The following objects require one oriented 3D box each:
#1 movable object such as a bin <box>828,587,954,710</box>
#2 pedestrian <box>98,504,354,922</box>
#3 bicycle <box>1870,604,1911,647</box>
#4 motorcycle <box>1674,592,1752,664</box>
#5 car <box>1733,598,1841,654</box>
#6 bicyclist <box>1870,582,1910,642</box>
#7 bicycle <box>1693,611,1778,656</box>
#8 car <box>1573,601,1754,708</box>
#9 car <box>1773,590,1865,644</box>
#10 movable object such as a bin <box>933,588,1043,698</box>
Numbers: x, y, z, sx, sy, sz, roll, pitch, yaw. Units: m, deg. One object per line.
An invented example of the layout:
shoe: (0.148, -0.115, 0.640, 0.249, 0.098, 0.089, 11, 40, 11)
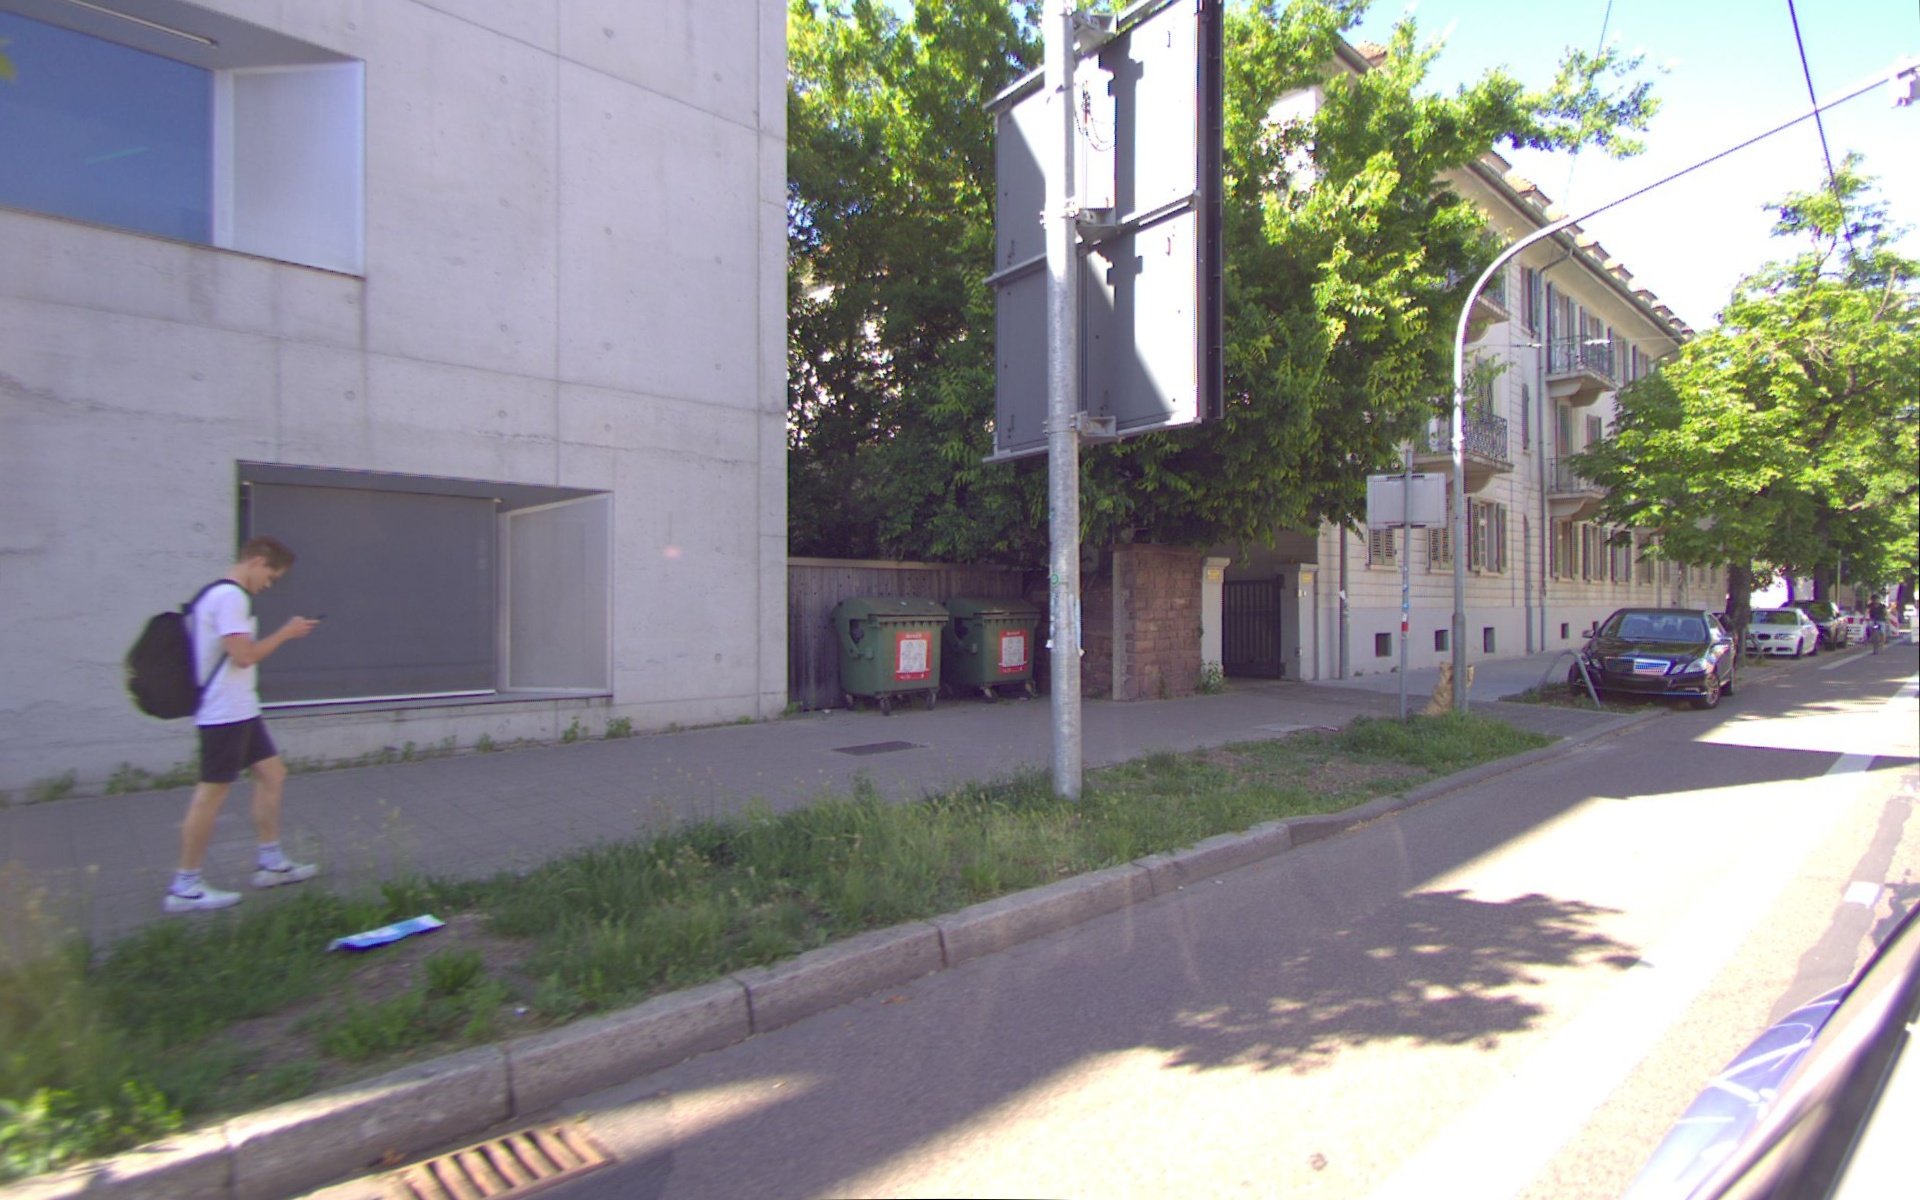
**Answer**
movable object such as a bin: (-0.886, 0.590, 13.081, 1.332, 1.482, 0.934, 0, -1, -42)
pedestrian: (-3.692, 0.499, 5.103, 0.940, 1.873, 0.684, 1, 0, -45)
bicycle: (28.064, 0.762, 30.516, 2.061, 1.258, 0.762, 0, -2, -44)
motorcycle: (17.113, 0.599, 22.963, 2.634, 1.507, 0.915, 0, 1, -43)
car: (23.221, 0.676, 28.369, 4.281, 1.399, 1.726, 0, 1, -42)
bicyclist: (28.029, 0.362, 30.502, 1.029, 1.761, 0.762, 1, -2, -44)
bicycle: (19.710, 0.830, 25.745, 0.674, 1.056, 1.622, 1, 1, -42)
car: (11.760, 0.783, 16.765, 1.821, 1.477, 4.744, 2, 1, 43)
car: (28.805, 0.533, 33.899, 4.506, 1.646, 1.813, 0, 2, -43)
movable object such as a bin: (0.407, 0.584, 14.435, 1.310, 1.482, 0.934, 0, -1, -45)
